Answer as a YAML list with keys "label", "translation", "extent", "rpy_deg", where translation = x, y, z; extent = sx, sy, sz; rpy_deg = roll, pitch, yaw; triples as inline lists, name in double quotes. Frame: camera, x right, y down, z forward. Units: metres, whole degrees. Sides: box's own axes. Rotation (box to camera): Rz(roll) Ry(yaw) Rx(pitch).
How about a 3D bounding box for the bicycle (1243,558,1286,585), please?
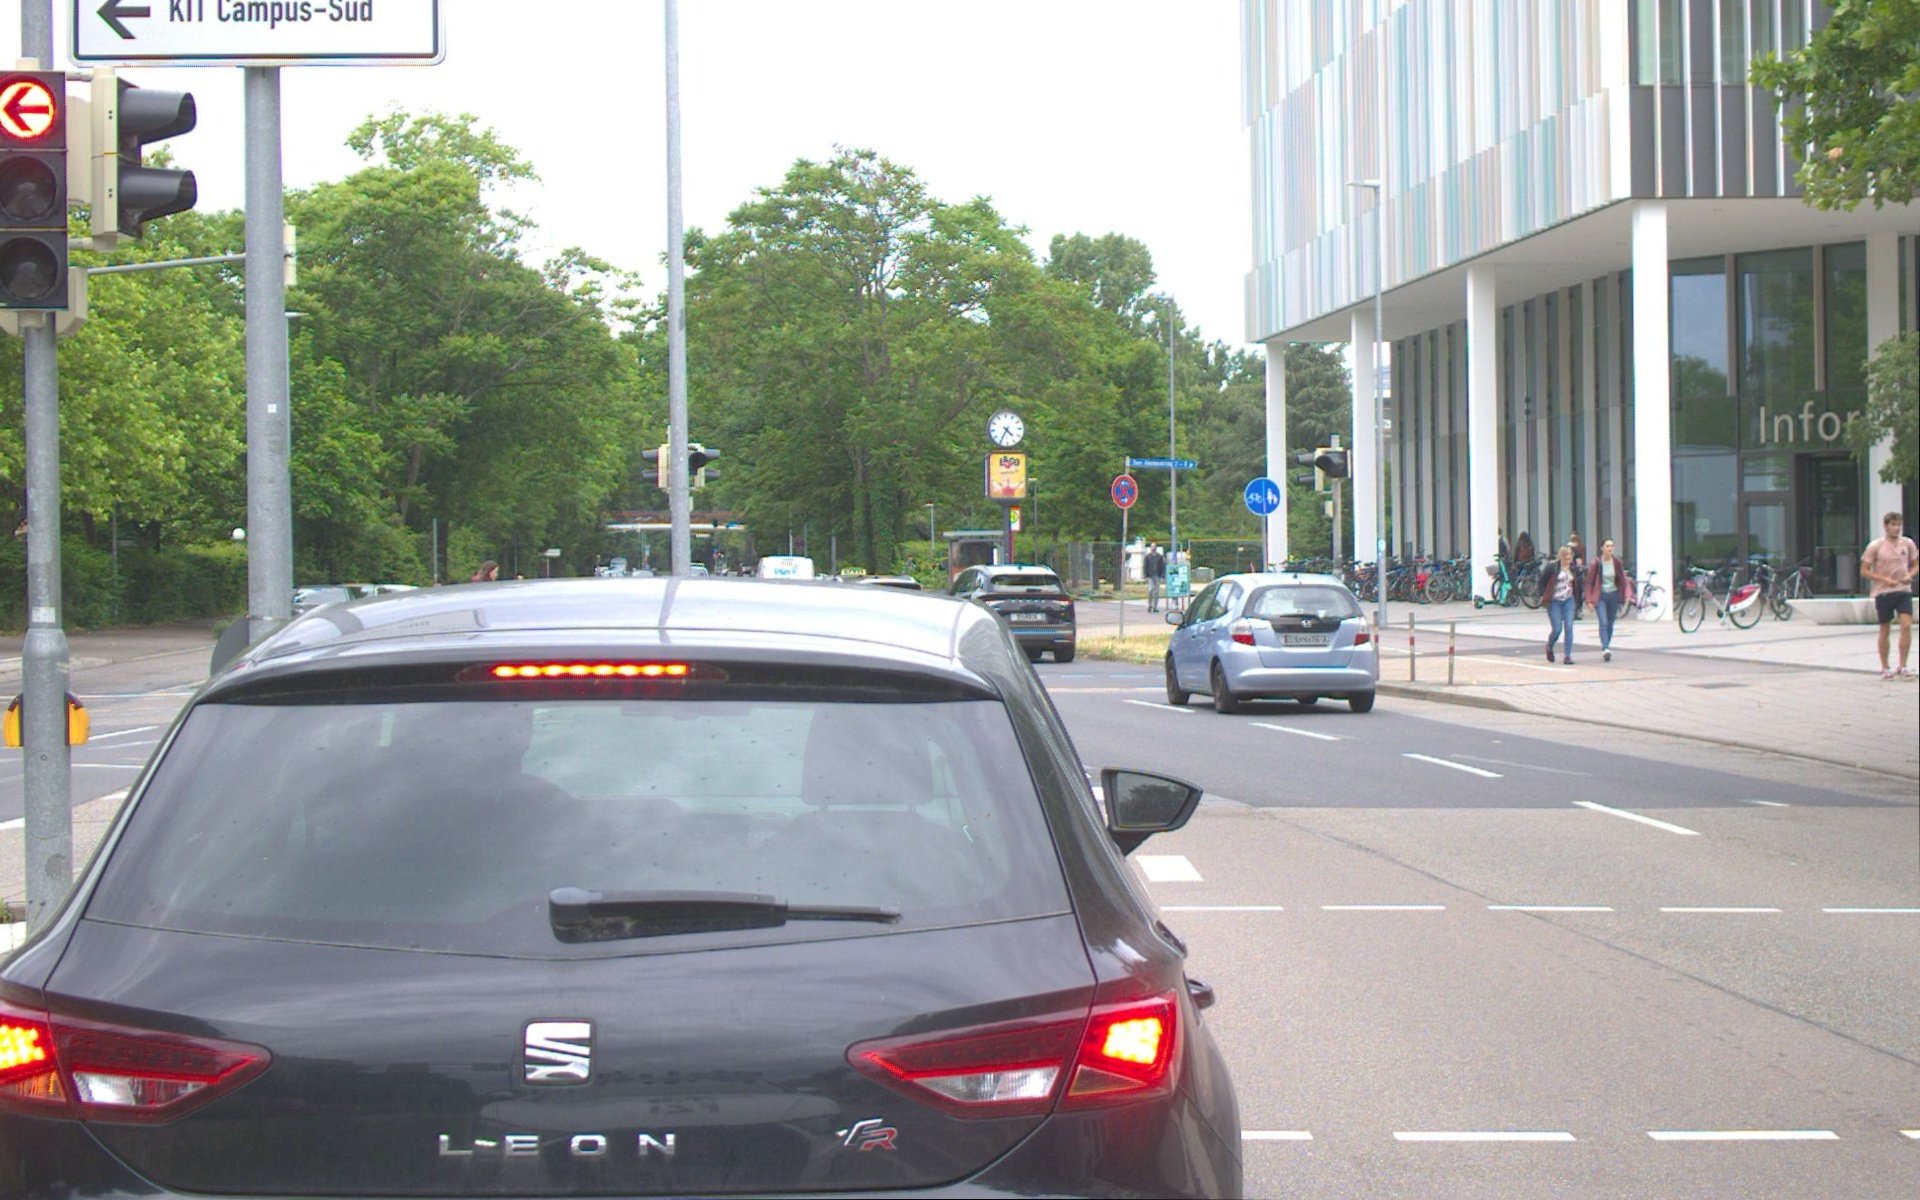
- label: "bicycle"
  translation: [9.639, -0.903, 108.934]
  extent: [1.258, 0.845, 0.482]
  rpy_deg: [2, 0, -22]

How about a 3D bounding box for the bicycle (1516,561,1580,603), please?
- label: "bicycle"
  translation: [13.007, -0.402, 76.025]
  extent: [1.438, 0.855, 0.365]
  rpy_deg: [-3, 1, -27]

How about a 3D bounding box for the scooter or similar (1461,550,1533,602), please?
- label: "scooter or similar"
  translation: [12.232, -0.550, 78.309]
  extent: [1.671, 1.103, 0.499]
  rpy_deg: [-3, 1, -32]

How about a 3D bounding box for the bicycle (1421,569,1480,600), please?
- label: "bicycle"
  translation: [12.010, -0.386, 84.195]
  extent: [1.374, 0.703, 0.416]
  rpy_deg: [-2, 1, 2]

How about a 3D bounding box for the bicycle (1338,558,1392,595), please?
- label: "bicycle"
  translation: [10.822, -0.619, 91.850]
  extent: [1.387, 0.938, 0.487]
  rpy_deg: [-1, 1, 7]

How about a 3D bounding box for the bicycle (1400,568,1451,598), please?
- label: "bicycle"
  translation: [11.762, -0.430, 86.884]
  extent: [1.240, 0.703, 0.489]
  rpy_deg: [-2, 1, 8]

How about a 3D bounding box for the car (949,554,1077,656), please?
- label: "car"
  translation: [0.849, 0.049, 57.649]
  extent: [1.907, 1.619, 4.491]
  rpy_deg: [1, 1, -2]

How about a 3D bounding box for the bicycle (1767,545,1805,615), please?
- label: "bicycle"
  translation: [15.471, -0.379, 64.392]
  extent: [0.526, 1.248, 1.664]
  rpy_deg: [-2, 1, 18]

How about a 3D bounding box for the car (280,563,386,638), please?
- label: "car"
  translation: [-15.725, -0.004, 86.326]
  extent: [1.906, 1.711, 4.000]
  rpy_deg: [-2, 1, -1]

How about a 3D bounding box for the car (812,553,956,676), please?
- label: "car"
  translation: [-1.097, 0.160, 48.335]
  extent: [1.883, 1.594, 4.447]
  rpy_deg: [2, 1, -2]

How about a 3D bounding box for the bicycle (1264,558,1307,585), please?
- label: "bicycle"
  translation: [10.127, -0.888, 106.860]
  extent: [1.234, 0.820, 0.482]
  rpy_deg: [1, 0, -22]

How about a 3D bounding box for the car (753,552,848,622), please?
- label: "car"
  translation: [-3.639, -0.284, 79.025]
  extent: [1.825, 1.545, 4.527]
  rpy_deg: [1, 0, 2]

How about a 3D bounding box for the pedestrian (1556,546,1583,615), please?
- label: "pedestrian"
  translation: [12.184, -0.393, 68.698]
  extent: [0.472, 1.357, 0.445]
  rpy_deg: [-2, 1, 10]

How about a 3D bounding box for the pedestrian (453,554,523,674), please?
- label: "pedestrian"
  translation: [-6.393, 0.187, 46.584]
  extent: [0.874, 1.581, 0.543]
  rpy_deg: [-2, 1, -7]

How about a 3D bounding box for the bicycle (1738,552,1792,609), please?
- label: "bicycle"
  translation: [15.737, -0.389, 67.185]
  extent: [0.620, 1.042, 1.703]
  rpy_deg: [-2, 1, 26]

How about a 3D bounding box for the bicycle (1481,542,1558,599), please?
- label: "bicycle"
  translation: [12.647, -0.669, 77.729]
  extent: [1.772, 1.207, 0.570]
  rpy_deg: [-3, 1, -34]

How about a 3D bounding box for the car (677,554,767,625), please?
- label: "car"
  translation: [-5.095, -0.245, 73.300]
  extent: [1.781, 1.458, 3.872]
  rpy_deg: [0, 1, -6]

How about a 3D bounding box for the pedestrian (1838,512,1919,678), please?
- label: "pedestrian"
  translation: [10.098, -0.061, 37.356]
  extent: [0.847, 1.759, 0.768]
  rpy_deg: [-2, 1, -1]

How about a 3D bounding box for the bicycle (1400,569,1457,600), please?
- label: "bicycle"
  translation: [11.724, -0.392, 85.992]
  extent: [1.375, 0.703, 0.489]
  rpy_deg: [-2, 1, 8]

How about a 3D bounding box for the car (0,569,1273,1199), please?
- label: "car"
  translation: [-0.475, 0.687, 5.752]
  extent: [1.753, 1.427, 3.769]
  rpy_deg: [1, 1, 2]

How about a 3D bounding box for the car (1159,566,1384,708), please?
- label: "car"
  translation: [3.348, 0.364, 37.569]
  extent: [1.666, 1.461, 3.661]
  rpy_deg: [0, 1, -8]

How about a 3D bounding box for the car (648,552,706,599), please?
- label: "car"
  translation: [-9.136, -0.806, 110.855]
  extent: [1.722, 1.409, 4.246]
  rpy_deg: [0, 1, -6]

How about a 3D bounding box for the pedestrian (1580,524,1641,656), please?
- label: "pedestrian"
  translation: [8.850, -0.142, 46.776]
  extent: [0.687, 1.775, 0.677]
  rpy_deg: [-1, 1, -1]

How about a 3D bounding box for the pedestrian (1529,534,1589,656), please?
- label: "pedestrian"
  translation: [8.142, -0.072, 46.719]
  extent: [0.687, 1.634, 0.633]
  rpy_deg: [0, 1, -1]

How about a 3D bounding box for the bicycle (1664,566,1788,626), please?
- label: "bicycle"
  translation: [12.518, -0.066, 56.197]
  extent: [1.886, 0.895, 0.697]
  rpy_deg: [-3, 1, -21]

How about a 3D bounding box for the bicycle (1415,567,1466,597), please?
- label: "bicycle"
  translation: [12.237, -0.464, 87.565]
  extent: [1.273, 0.703, 0.485]
  rpy_deg: [-2, 1, 7]

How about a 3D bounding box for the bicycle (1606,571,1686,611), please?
- label: "bicycle"
  translation: [13.897, -0.187, 69.679]
  extent: [1.479, 0.746, 0.566]
  rpy_deg: [-2, 1, -4]

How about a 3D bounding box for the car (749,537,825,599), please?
- label: "car"
  translation: [-5.759, -1.075, 114.084]
  extent: [1.966, 1.965, 4.345]
  rpy_deg: [1, 1, -10]

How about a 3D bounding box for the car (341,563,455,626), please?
- label: "car"
  translation: [-15.701, -0.173, 96.229]
  extent: [1.759, 1.582, 3.998]
  rpy_deg: [-2, 1, 12]
